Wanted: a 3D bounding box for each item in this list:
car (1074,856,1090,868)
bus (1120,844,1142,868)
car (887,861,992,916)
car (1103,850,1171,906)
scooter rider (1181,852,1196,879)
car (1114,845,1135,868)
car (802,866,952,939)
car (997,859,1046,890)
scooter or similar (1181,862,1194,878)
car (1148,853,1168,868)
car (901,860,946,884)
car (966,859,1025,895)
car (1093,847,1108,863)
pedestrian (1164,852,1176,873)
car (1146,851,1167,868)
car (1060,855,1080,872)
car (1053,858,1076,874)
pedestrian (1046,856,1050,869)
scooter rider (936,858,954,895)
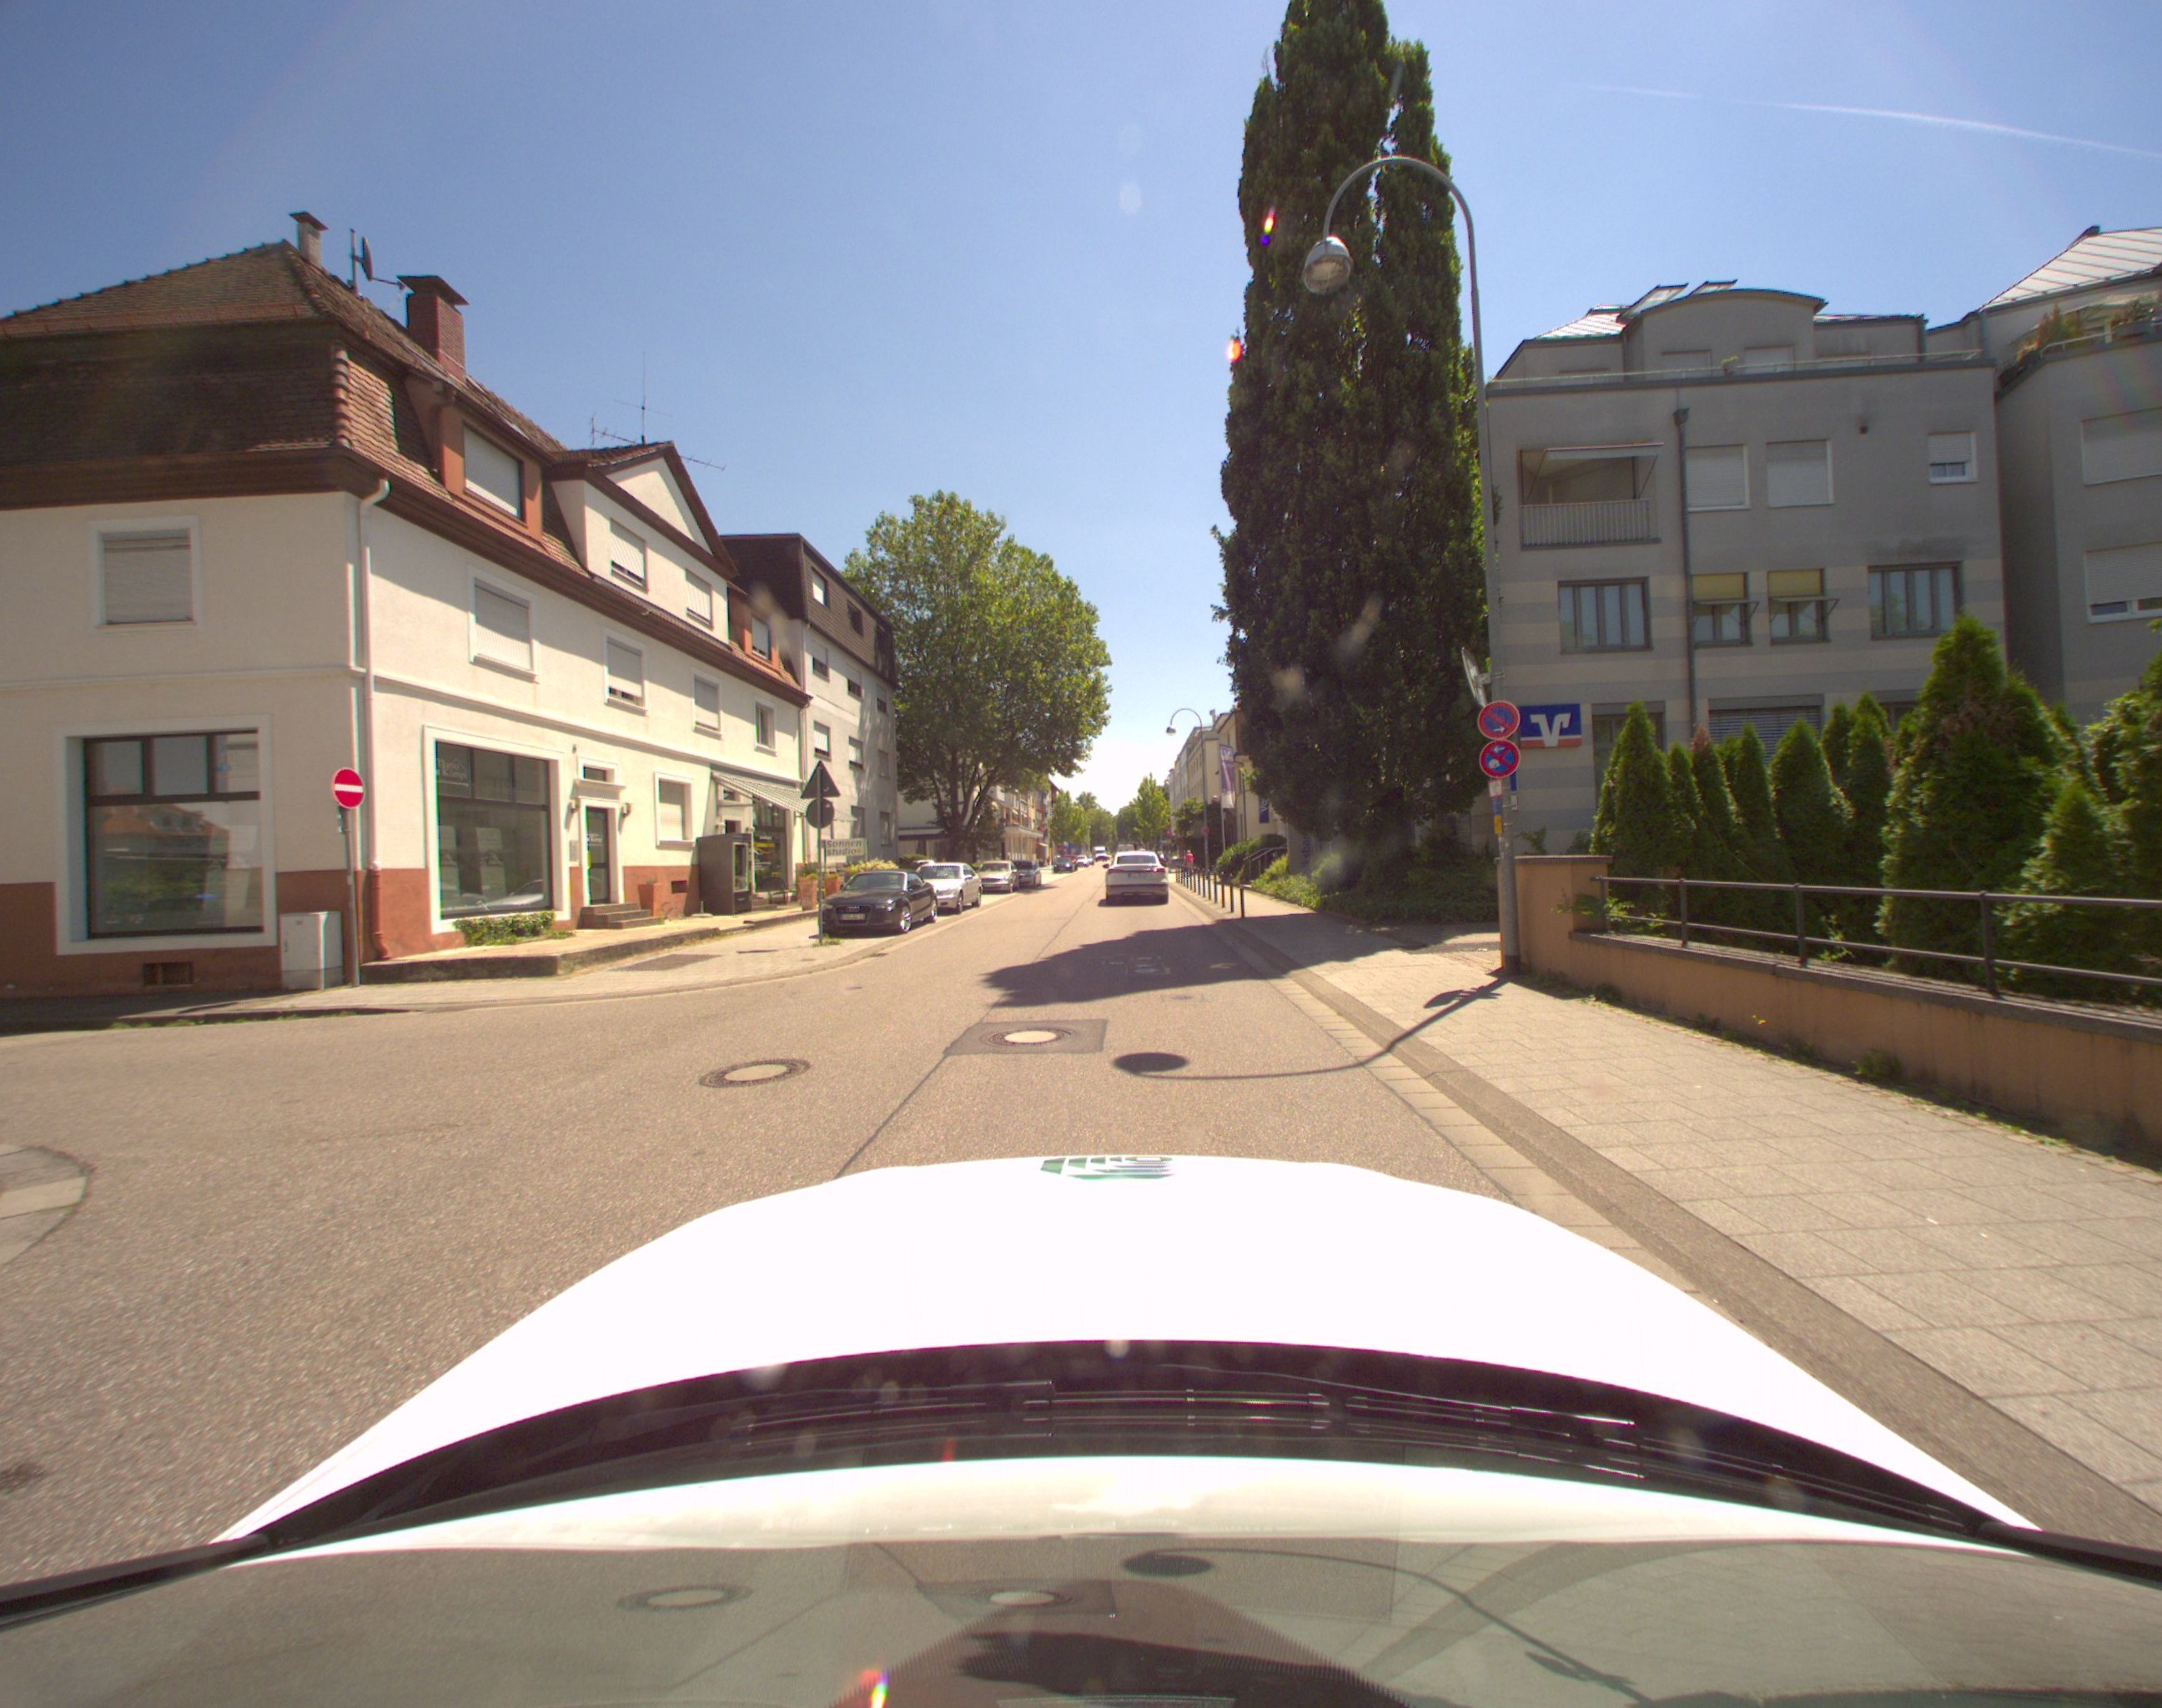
[{"bbox_3d":[0.146,1.024,107.613,1.744,1.618,4.406,0,0,4],"label":"car"},{"bbox_3d":[6.713,0.282,109.399,2.647,3.221,7.312,0,0,6],"label":"bus"},{"bbox_3d":[-4.225,0.989,25.330,1.972,1.452,5.363,-1,0,4],"label":"car"},{"bbox_3d":[1.713,0.705,26.071,1.986,1.633,4.002,-1,0,2],"label":"car"},{"bbox_3d":[6.476,0.676,49.138,0.713,1.548,0.770,-3,0,1],"label":"scooter rider"},{"bbox_3d":[4.747,0.292,88.856,2.147,2.442,5.288,0,0,3],"label":"car"},{"bbox_3d":[-4.591,1.037,19.265,1.934,1.373,5.103,-2,0,4],"label":"car"},{"bbox_3d":[-3.080,1.015,42.929,1.973,1.452,5.153,-1,0,2],"label":"car"},{"bbox_3d":[6.514,0.959,49.729,0.660,0.963,0.754,-3,0,3],"label":"scooter or similar"},{"bbox_3d":[7.995,0.674,84.778,1.887,1.438,4.550,-2,0,5],"label":"car"},{"bbox_3d":[-10.660,1.203,54.928,1.902,1.486,3.960,-2,0,-27],"label":"car"},{"bbox_3d":[-3.797,0.981,37.055,1.973,1.452,4.870,-1,0,2],"label":"car"},{"bbox_3d":[3.358,0.188,142.958,2.031,2.630,7.100,-4,0,-2],"label":"car"},{"bbox_3d":[6.911,0.654,63.219,0.697,1.626,0.784,-5,-1,2],"label":"pedestrian"},{"bbox_3d":[8.375,0.591,90.914,1.890,1.674,4.691,-4,0,1],"label":"car"},{"bbox_3d":[-1.125,0.934,84.466,1.745,1.702,4.104,0,0,3],"label":"car"},{"bbox_3d":[-1.516,1.145,77.996,1.888,1.417,5.051,0,0,3],"label":"car"},{"bbox_3d":[-4.274,1.113,104.779,0.394,1.735,0.444,-2,-1,-8],"label":"pedestrian"},{"bbox_3d":[-5.932,0.967,35.638,0.586,1.575,0.878,0,0,4],"label":"scooter rider"}]
